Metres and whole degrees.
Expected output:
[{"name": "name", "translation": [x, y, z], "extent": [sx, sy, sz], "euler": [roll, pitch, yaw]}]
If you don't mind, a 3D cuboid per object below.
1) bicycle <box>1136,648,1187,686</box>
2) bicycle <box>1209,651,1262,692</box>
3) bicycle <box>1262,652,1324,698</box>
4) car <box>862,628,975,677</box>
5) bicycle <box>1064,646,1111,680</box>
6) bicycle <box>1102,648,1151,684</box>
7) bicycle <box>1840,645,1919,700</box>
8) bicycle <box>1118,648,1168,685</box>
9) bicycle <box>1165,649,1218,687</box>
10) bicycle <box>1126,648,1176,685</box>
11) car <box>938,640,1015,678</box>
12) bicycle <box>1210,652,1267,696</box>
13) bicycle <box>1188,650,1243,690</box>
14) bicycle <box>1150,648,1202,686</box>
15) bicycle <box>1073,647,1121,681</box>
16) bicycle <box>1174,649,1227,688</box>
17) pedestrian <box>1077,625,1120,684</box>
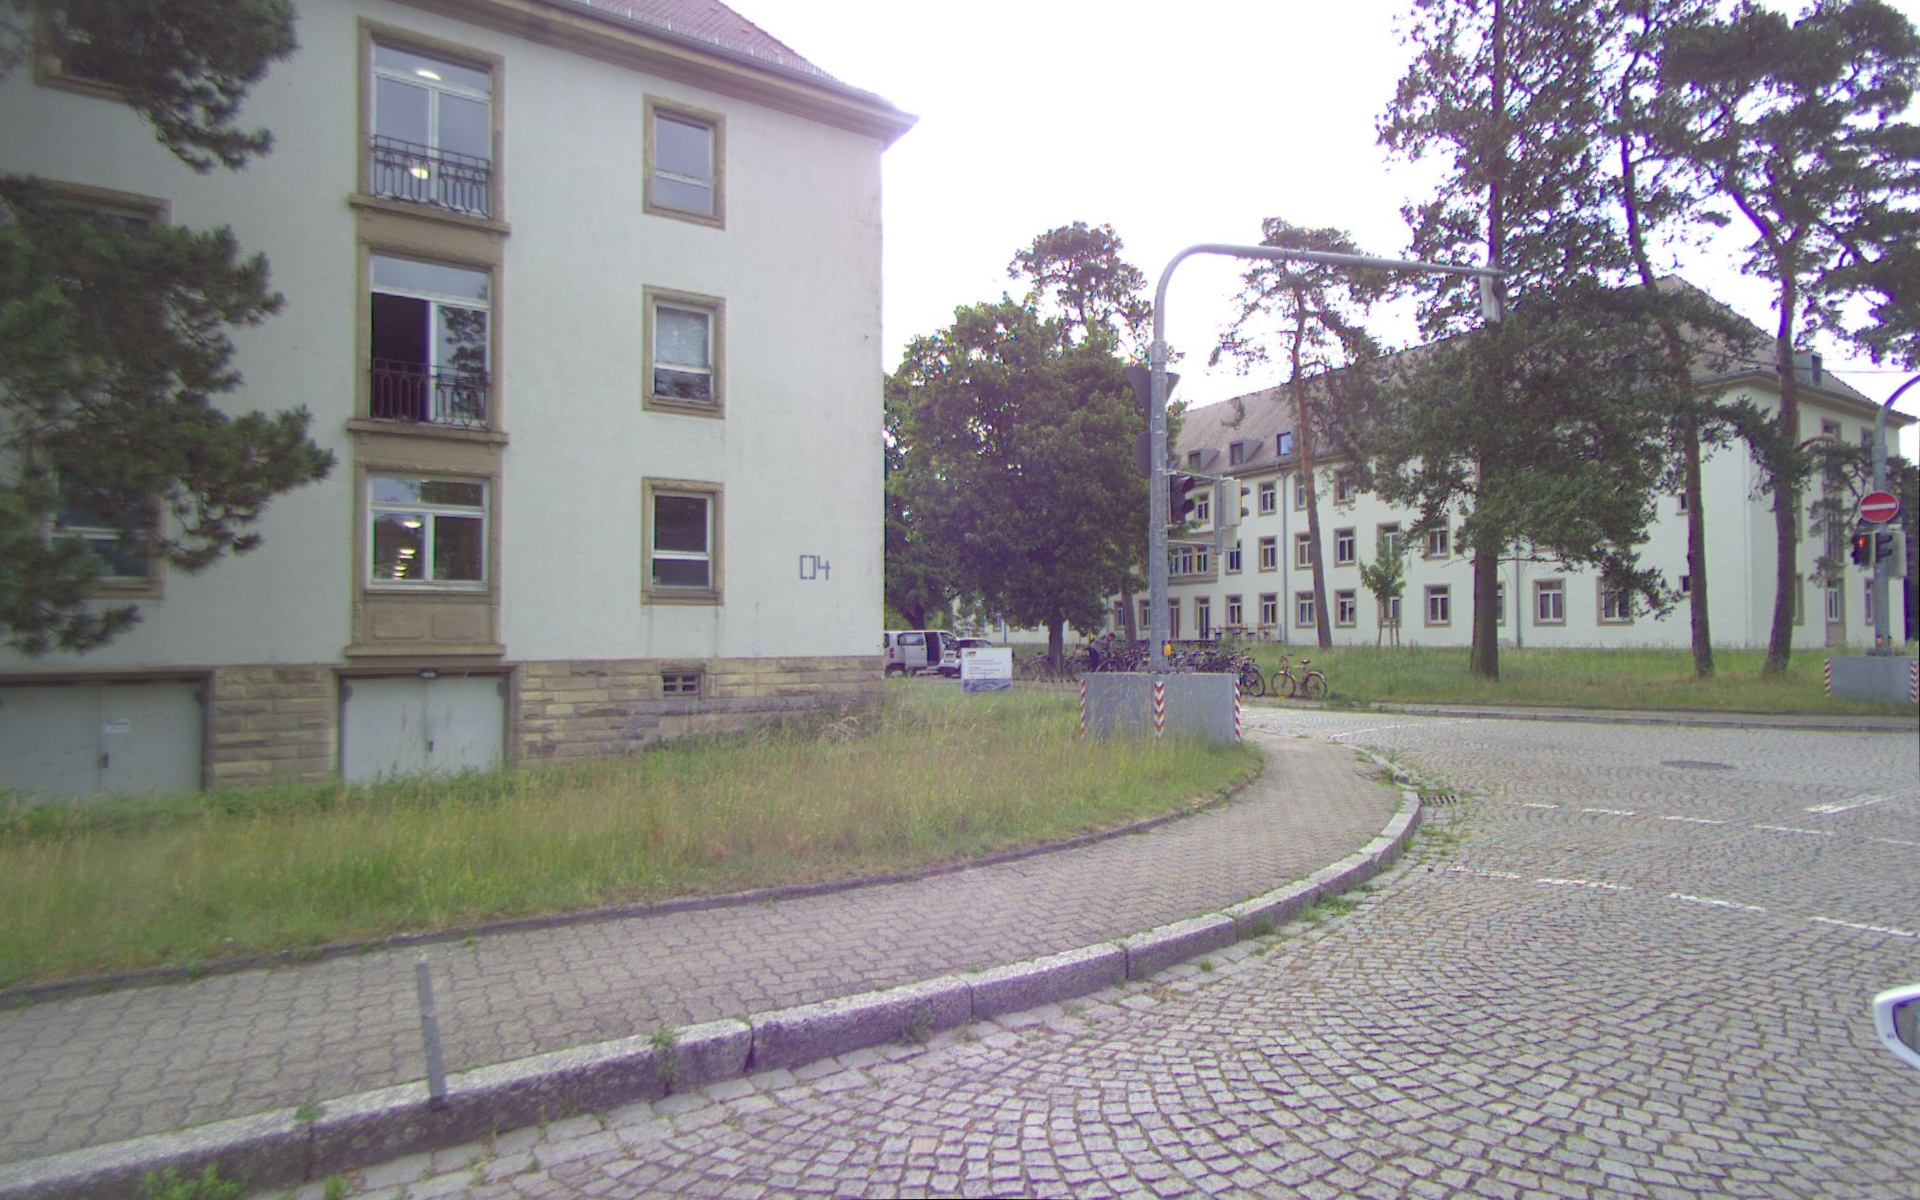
[{"name": "bicycle", "translation": [6.087, 2.013, 30.374], "extent": [1.567, 1.093, 0.512], "euler": [1, -3, -31]}, {"name": "bicycle", "translation": [7.630, 1.965, 27.814], "extent": [1.569, 1.093, 0.511], "euler": [1, -3, -34]}, {"name": "bicycle", "translation": [8.126, 1.816, 24.549], "extent": [0.510, 1.079, 1.457], "euler": [1, -3, -32]}, {"name": "car", "translation": [-1.730, 2.200, 43.092], "extent": [4.878, 1.977, 1.839], "euler": [2, -2, -44]}, {"name": "bicycle", "translation": [4.268, 2.090, 33.546], "extent": [1.567, 1.093, 0.512], "euler": [1, -3, -31]}, {"name": "bicycle", "translation": [5.260, 2.072, 31.778], "extent": [1.567, 1.093, 0.512], "euler": [1, -3, -31]}, {"name": "bicycle", "translation": [19.151, 1.471, 20.660], "extent": [0.510, 1.079, 1.457], "euler": [0, -2, -32]}, {"name": "bicycle", "translation": [5.657, 2.050, 31.090], "extent": [1.567, 1.093, 0.512], "euler": [1, -3, -31]}, {"name": "bicycle", "translation": [6.769, 1.974, 29.326], "extent": [1.567, 1.093, 0.512], "euler": [1, -3, -31]}, {"name": "bicycle", "translation": [5.855, 2.019, 30.761], "extent": [1.567, 1.093, 0.512], "euler": [1, -3, -31]}, {"name": "car", "translation": [0.678, 2.350, 40.545], "extent": [2.756, 1.446, 1.509], "euler": [1, -2, -31]}, {"name": "bicycle", "translation": [7.169, 1.897, 25.876], "extent": [0.510, 1.093, 1.457], "euler": [1, -3, -32]}, {"name": "bicycle", "translation": [7.218, 1.967, 28.354], "extent": [1.565, 1.093, 0.512], "euler": [1, -3, -28]}, {"name": "bicycle", "translation": [6.415, 1.988, 29.847], "extent": [1.567, 1.093, 0.512], "euler": [1, -3, -31]}, {"name": "bicycle", "translation": [4.526, 2.087, 33.118], "extent": [1.567, 1.093, 0.512], "euler": [1, -3, -31]}, {"name": "bicycle", "translation": [6.945, 1.972, 29.011], "extent": [1.567, 1.093, 0.512], "euler": [1, -3, -31]}, {"name": "pedestrian", "translation": [4.409, 1.722, 31.968], "extent": [1.135, 1.812, 1.064], "euler": [-1, -1, -2]}]
